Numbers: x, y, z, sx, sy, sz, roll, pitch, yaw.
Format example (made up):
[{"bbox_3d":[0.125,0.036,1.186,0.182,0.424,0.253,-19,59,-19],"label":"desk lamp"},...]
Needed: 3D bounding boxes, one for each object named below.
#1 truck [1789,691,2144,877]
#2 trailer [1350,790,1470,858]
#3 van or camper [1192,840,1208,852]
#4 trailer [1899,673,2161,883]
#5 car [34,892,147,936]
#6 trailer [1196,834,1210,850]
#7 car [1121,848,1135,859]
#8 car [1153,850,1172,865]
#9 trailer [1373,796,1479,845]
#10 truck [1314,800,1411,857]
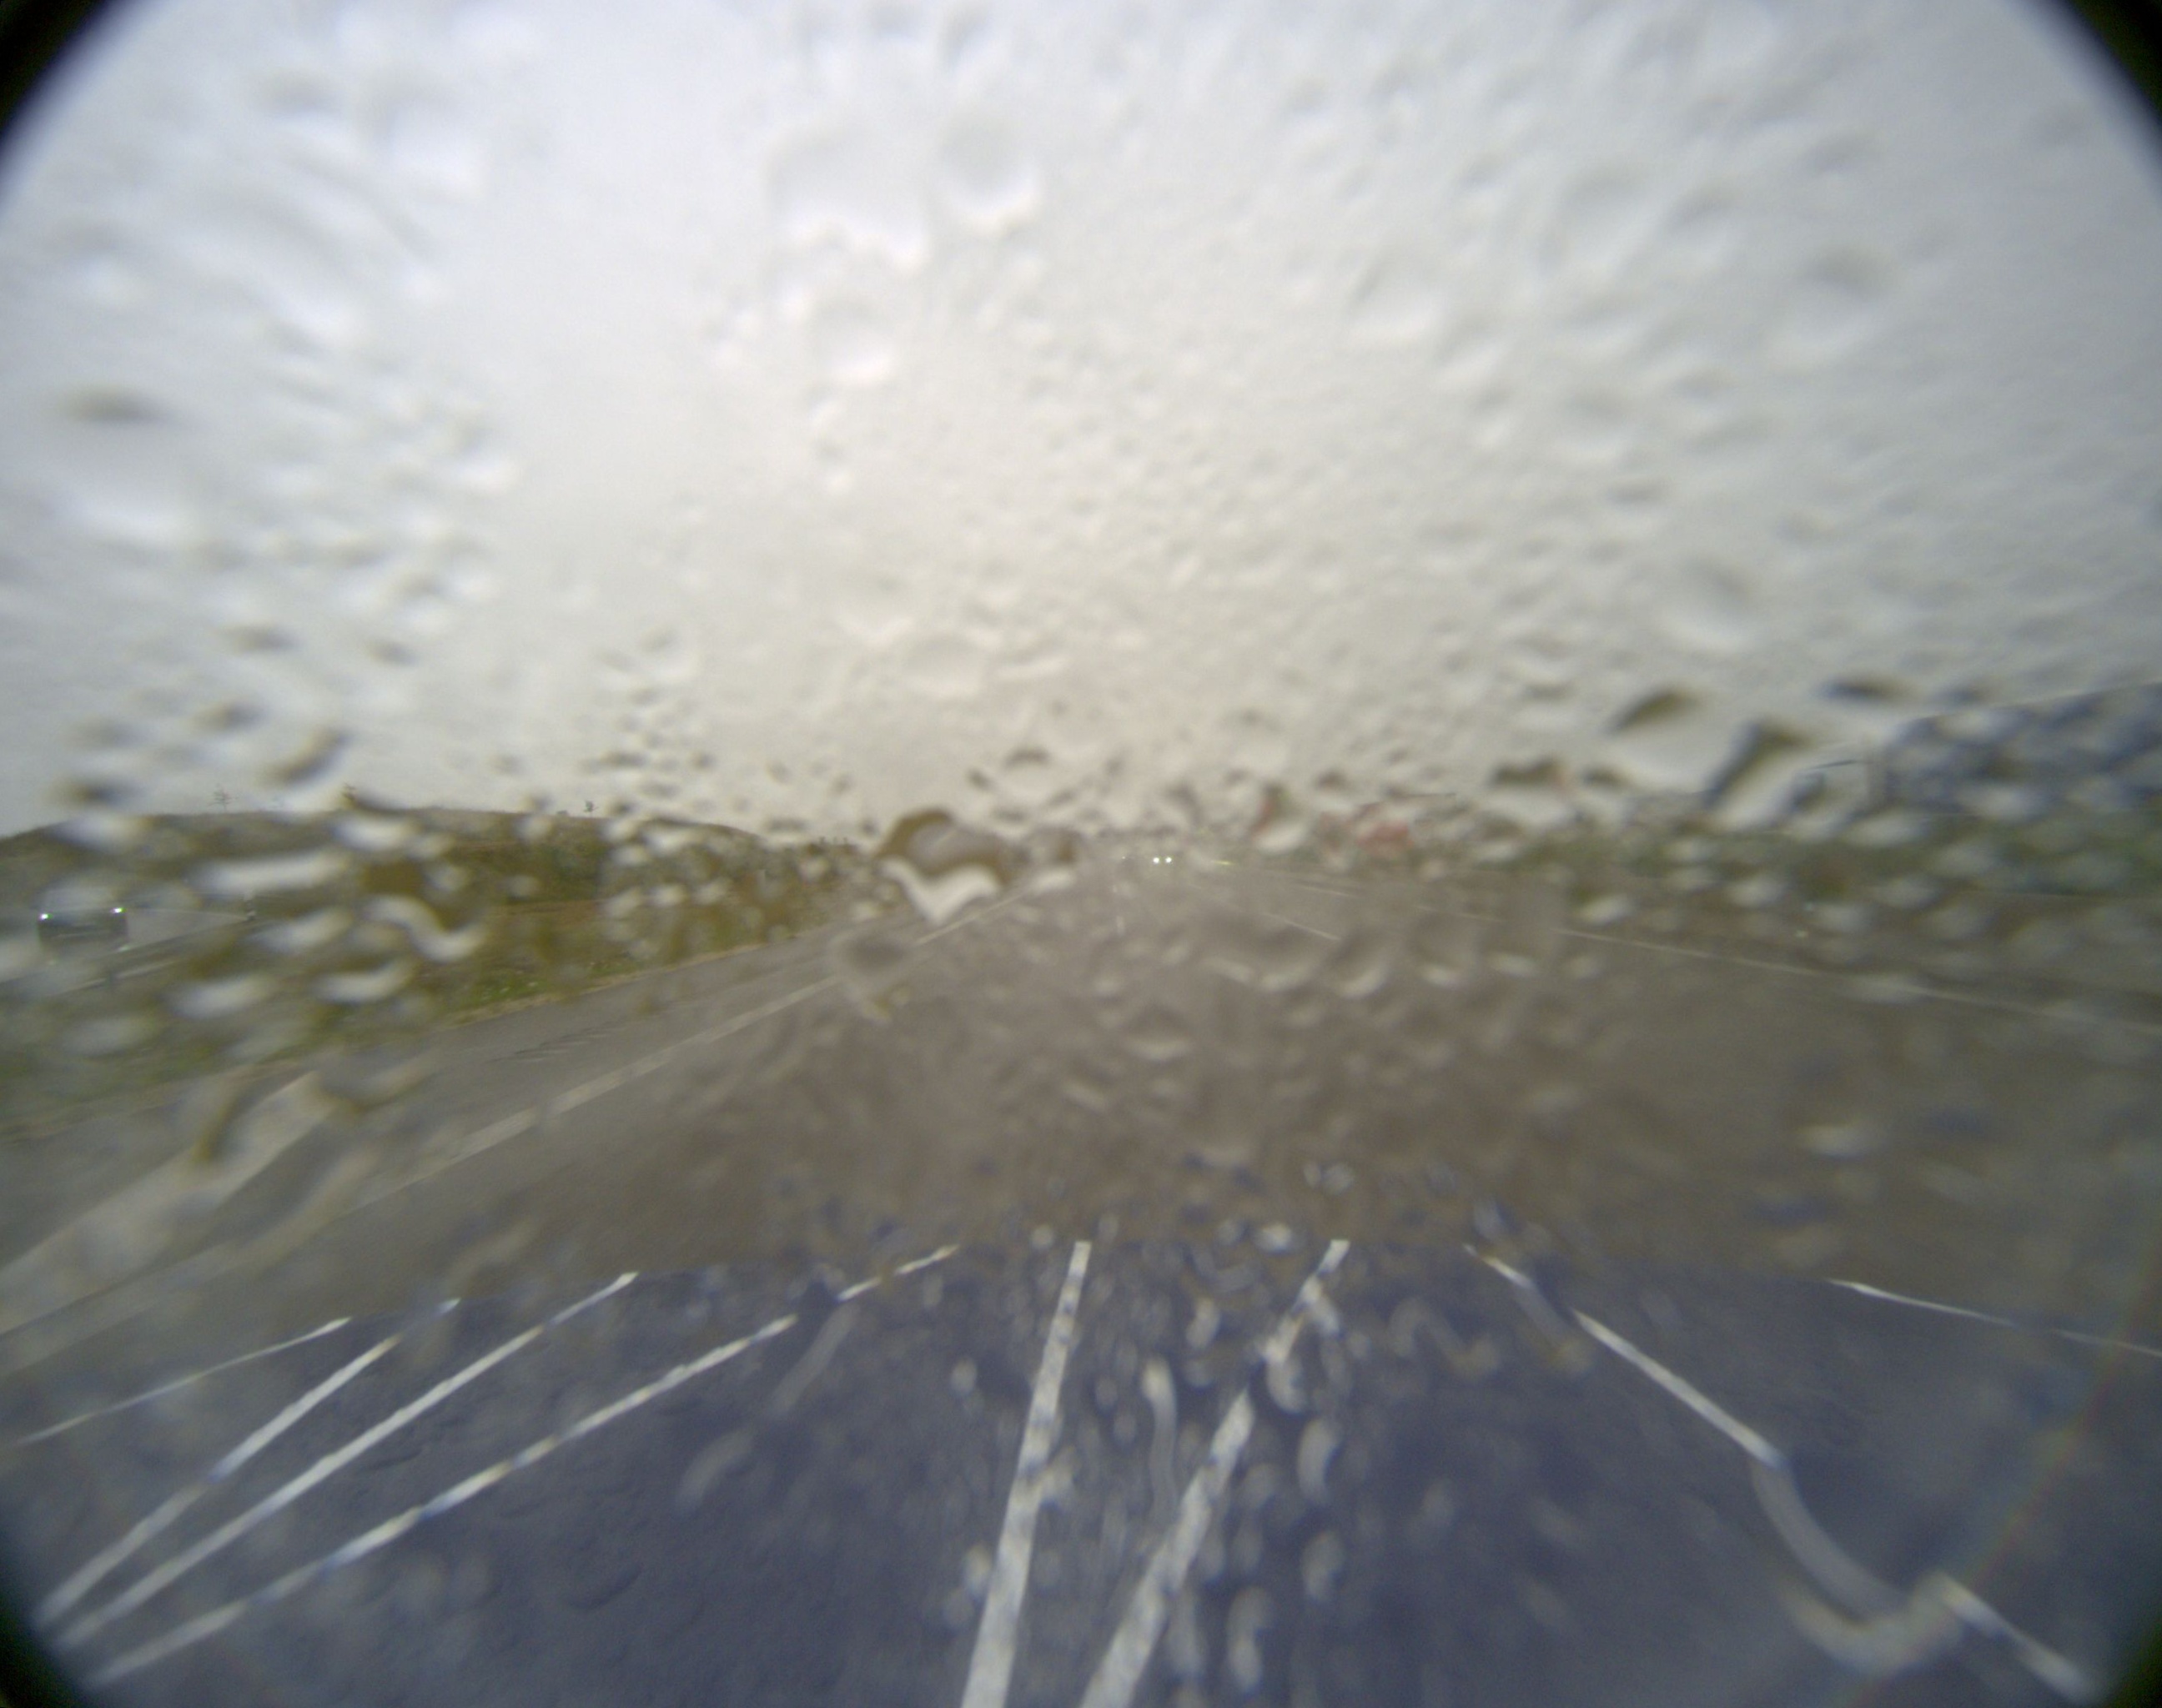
[{"bbox_3d":[21.652,-1.518,19.148,2.491,3.904,5.610,-2,1,2],"label":"truck"},{"bbox_3d":[18.873,-1.598,44.513,3.265,3.436,9.443,-2,0,3],"label":"trailer"},{"bbox_3d":[25.050,-1.662,160.667,2.379,2.493,6.757,-3,0,2],"label":"van or camper"},{"bbox_3d":[21.364,-1.447,12.137,2.442,3.916,13.492,-2,1,2],"label":"trailer"},{"bbox_3d":[-34.131,2.029,26.181,3.989,1.281,1.824,-2,1,30],"label":"car"},{"bbox_3d":[32.573,-3.134,203.571,2.229,3.974,14.209,-2,1,4],"label":"trailer"},{"bbox_3d":[6.921,-0.040,112.051,1.701,1.543,3.733,-3,1,1],"label":"car"},{"bbox_3d":[9.017,0.346,84.337,1.700,1.543,3.733,-3,1,2],"label":"car"},{"bbox_3d":[28.119,-2.547,63.028,3.121,3.398,14.238,-2,0,4],"label":"trailer"},{"bbox_3d":[19.205,-1.625,52.747,3.273,3.421,10.130,-2,0,2],"label":"truck"}]
